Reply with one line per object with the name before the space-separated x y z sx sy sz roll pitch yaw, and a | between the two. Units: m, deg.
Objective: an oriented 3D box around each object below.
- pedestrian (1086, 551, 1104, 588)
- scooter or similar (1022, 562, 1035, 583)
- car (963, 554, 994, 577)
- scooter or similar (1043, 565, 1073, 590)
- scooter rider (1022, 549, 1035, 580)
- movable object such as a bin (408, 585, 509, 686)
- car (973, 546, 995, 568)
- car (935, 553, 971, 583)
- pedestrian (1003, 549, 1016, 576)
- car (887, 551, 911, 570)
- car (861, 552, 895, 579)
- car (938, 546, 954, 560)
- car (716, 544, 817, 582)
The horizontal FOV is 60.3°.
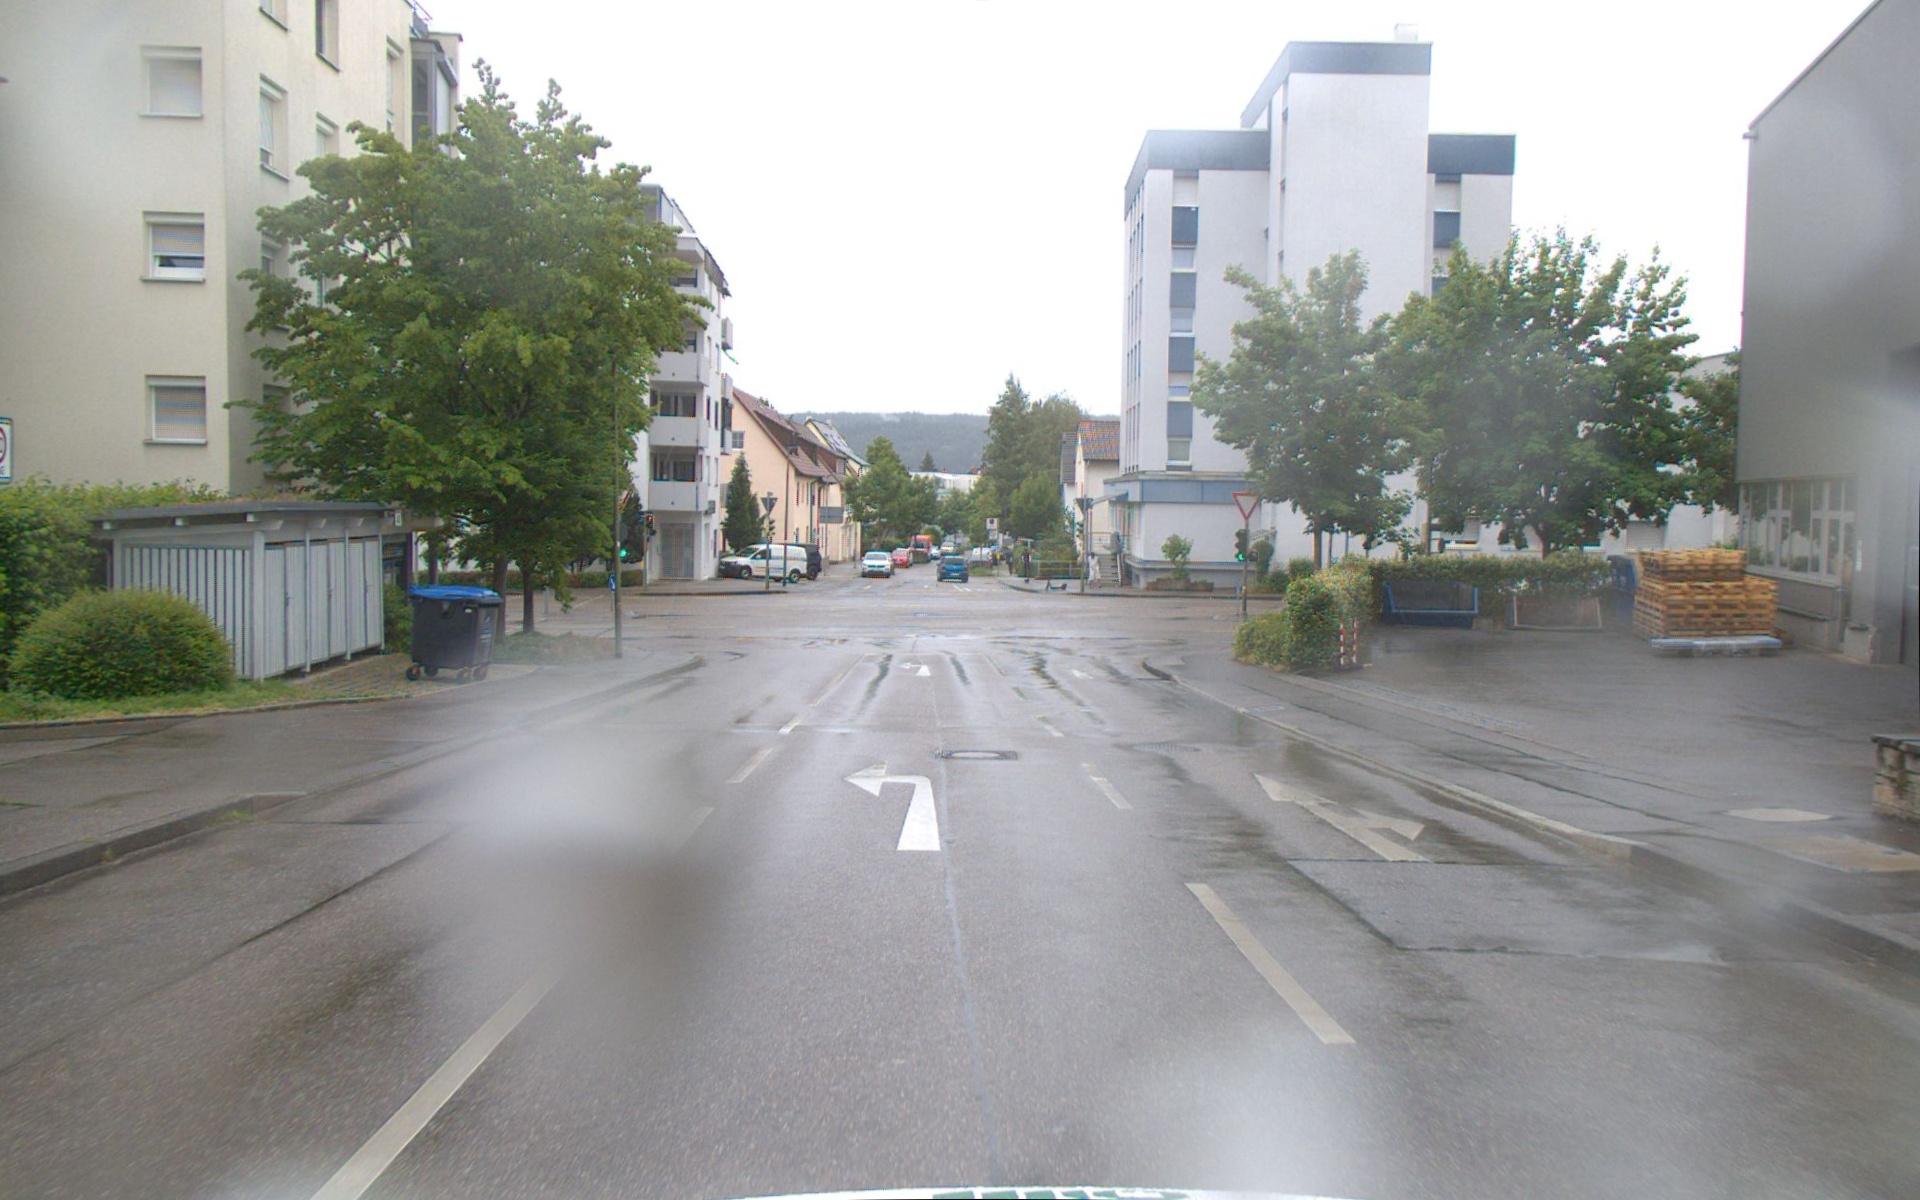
pedestrian | 6.206 -1.416 76.076 0.635 1.676 0.525 3 1 -7
scooter or similar | 3.983 -1.620 96.459 0.741 1.192 1.315 -1 1 1
car | 1.298 -2.488 117.886 2.102 1.616 4.128 -1 2 0
scooter or similar | 4.414 -1.034 74.876 1.243 1.100 0.876 -1 1 -5
scooter rider | 3.984 -2.067 96.406 0.736 1.827 0.673 0 1 2
movable object such as a bin | -7.175 0.486 23.745 1.050 1.371 1.318 2 0 -3
car | 2.007 -3.633 139.853 1.862 1.775 4.192 -1 2 0
car | -0.451 -1.902 97.492 1.953 1.713 3.999 -1 2 -2
pedestrian | 3.527 -2.666 118.383 0.734 1.880 0.524 3 1 -17
car | -5.131 -3.350 140.539 1.862 1.586 4.192 -1 2 0
car | -5.131 -2.181 104.085 1.953 1.654 4.192 -1 2 0
car | -1.617 -5.422 190.810 1.862 1.586 4.192 -1 2 0
car | -9.771 -1.899 83.751 4.797 1.867 1.972 -2 2 -39
